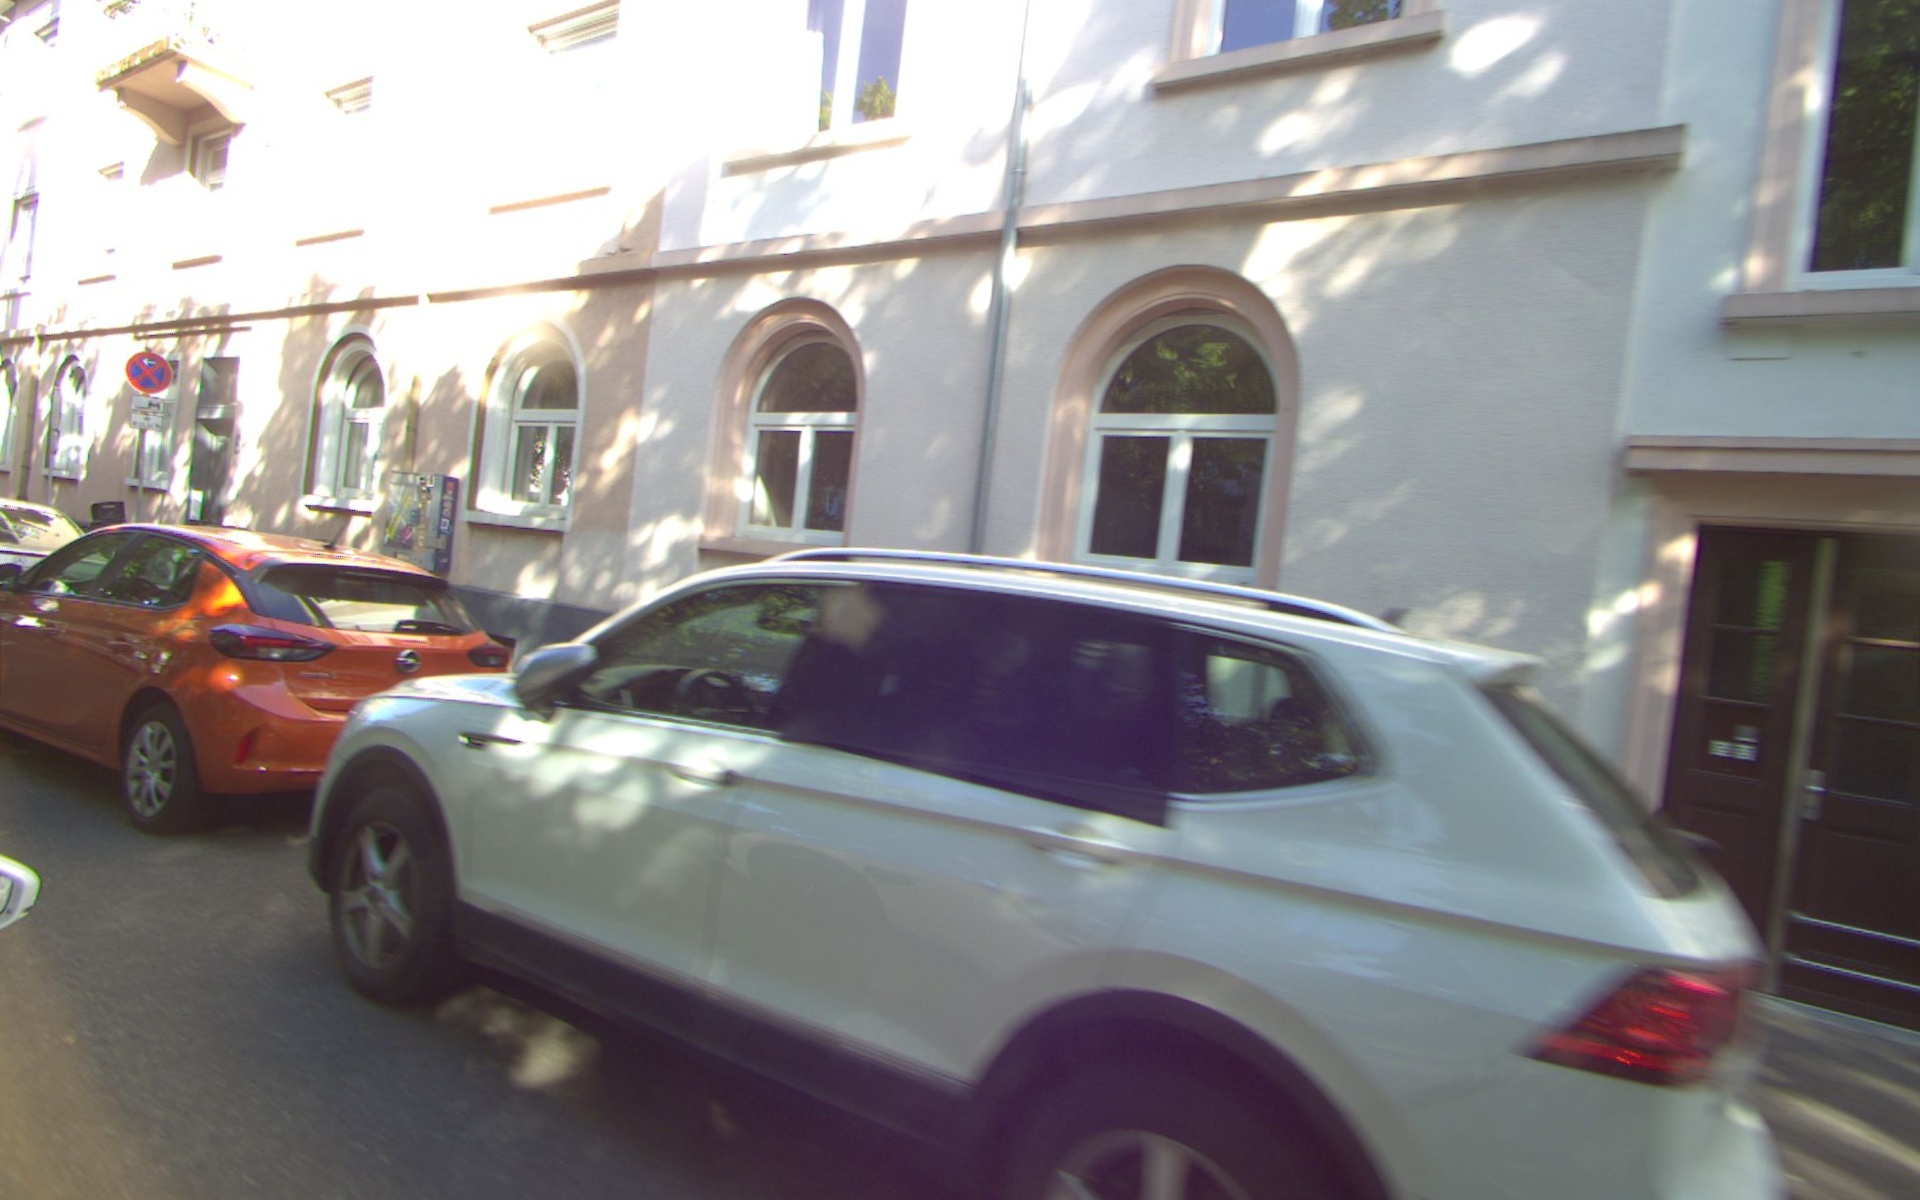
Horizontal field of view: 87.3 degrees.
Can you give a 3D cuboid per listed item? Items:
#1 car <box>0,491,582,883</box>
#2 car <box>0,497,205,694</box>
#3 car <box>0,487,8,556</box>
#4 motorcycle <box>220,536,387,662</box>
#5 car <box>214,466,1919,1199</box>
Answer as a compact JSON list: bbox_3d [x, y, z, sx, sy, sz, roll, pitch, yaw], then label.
[{"bbox_3d":[-4.420,0.301,6.026,3.895,1.542,1.794,7,0,28],"label":"car"},{"bbox_3d":[-8.890,-0.226,8.862,4.426,1.426,1.997,7,-1,31],"label":"car"},{"bbox_3d":[-12.364,-0.707,11.355,2.734,1.549,1.594,7,0,31],"label":"car"},{"bbox_3d":[-7.502,-0.020,11.485,1.803,1.208,0.548,7,1,21],"label":"motorcycle"},{"bbox_3d":[-0.315,0.646,3.307,4.597,1.695,1.818,7,0,33],"label":"car"}]
